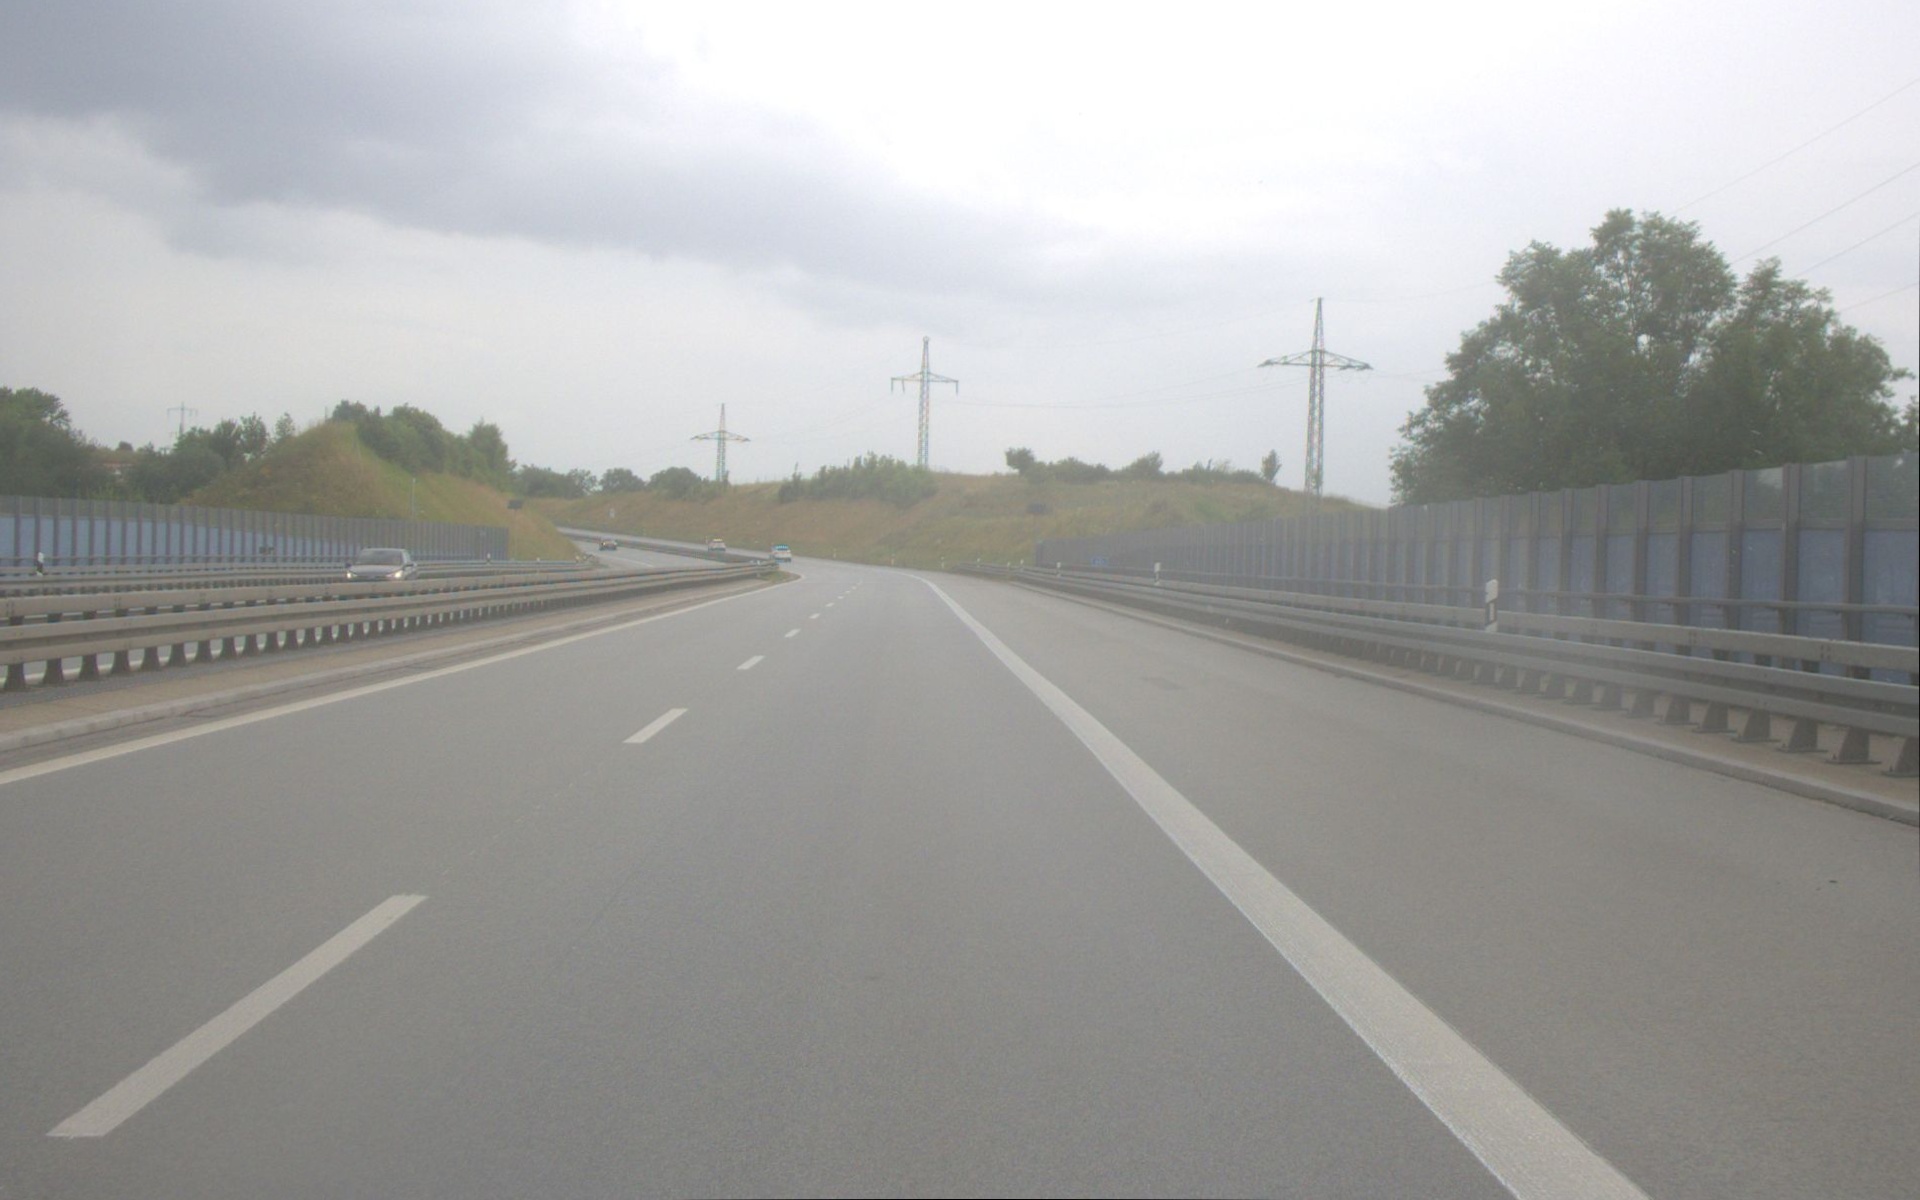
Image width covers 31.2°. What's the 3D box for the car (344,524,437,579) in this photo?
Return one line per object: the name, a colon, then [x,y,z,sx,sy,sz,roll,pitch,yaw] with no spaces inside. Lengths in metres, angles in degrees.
car: [-16.293,-1.386,98.581,1.993,1.510,4.288,1,1,-1]
